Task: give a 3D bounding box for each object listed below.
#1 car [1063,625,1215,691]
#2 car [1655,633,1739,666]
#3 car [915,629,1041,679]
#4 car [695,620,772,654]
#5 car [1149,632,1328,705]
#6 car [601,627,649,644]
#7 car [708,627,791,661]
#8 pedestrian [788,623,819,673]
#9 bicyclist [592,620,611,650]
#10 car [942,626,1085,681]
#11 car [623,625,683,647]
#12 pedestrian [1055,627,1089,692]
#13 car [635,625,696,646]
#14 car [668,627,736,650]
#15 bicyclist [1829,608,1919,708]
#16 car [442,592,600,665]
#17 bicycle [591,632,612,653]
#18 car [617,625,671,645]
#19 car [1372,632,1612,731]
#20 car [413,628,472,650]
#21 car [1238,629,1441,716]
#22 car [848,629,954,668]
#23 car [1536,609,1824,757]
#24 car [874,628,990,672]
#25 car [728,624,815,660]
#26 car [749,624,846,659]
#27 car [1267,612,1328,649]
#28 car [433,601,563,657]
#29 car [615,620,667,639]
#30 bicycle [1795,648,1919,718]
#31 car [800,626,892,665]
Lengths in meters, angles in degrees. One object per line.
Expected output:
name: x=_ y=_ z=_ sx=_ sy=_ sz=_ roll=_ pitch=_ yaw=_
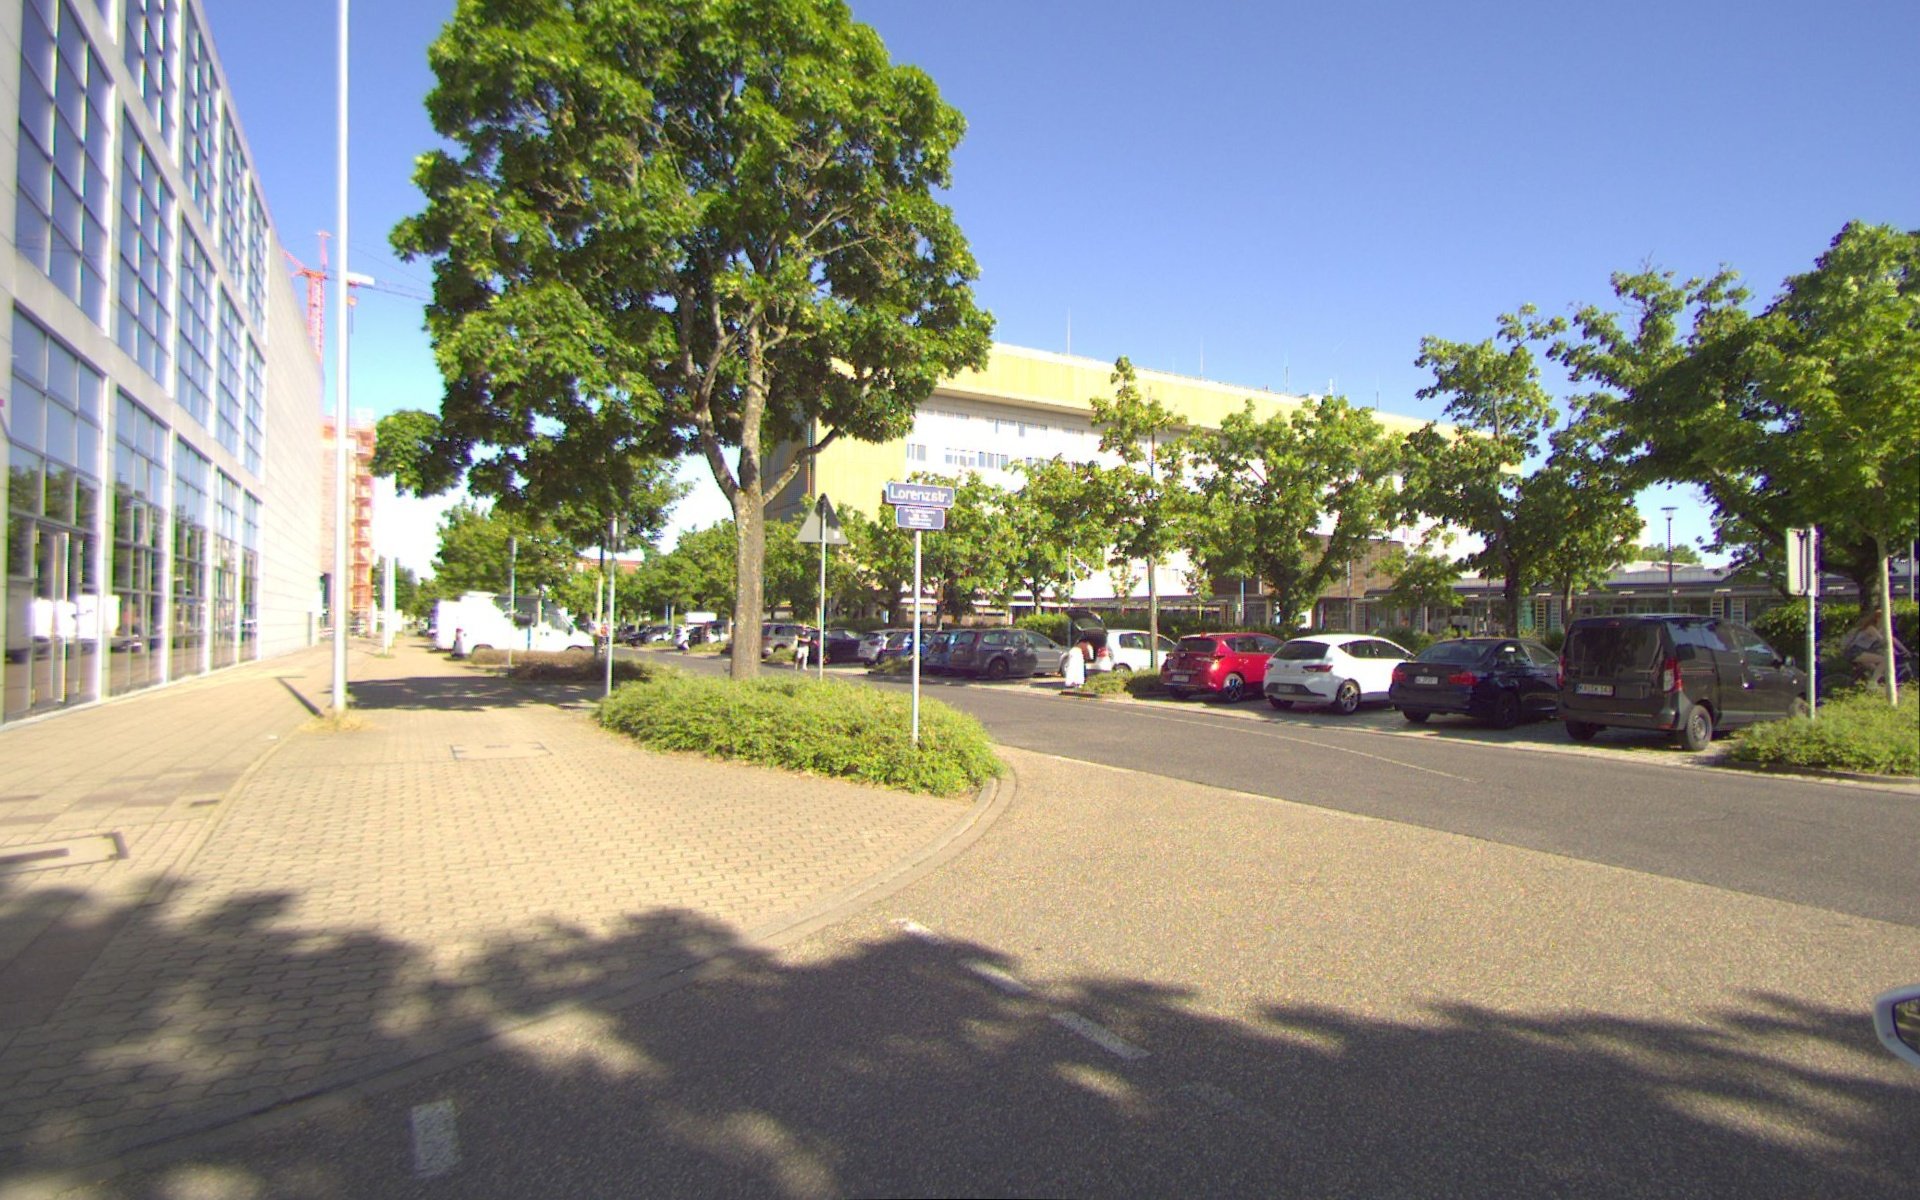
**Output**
car: x=4.783 y=1.498 z=26.767 sx=3.868 sy=1.599 sz=1.665 roll=1 pitch=0 yaw=-32
car: x=36.160 y=2.418 z=49.273 sx=3.858 sy=1.517 sz=1.829 roll=1 pitch=-1 yaw=-28
car: x=0.596 y=1.721 z=32.803 sx=3.868 sy=1.487 sz=1.607 roll=1 pitch=0 yaw=-32
car: x=-13.439 y=2.184 z=59.690 sx=4.085 sy=1.953 sz=1.962 roll=1 pitch=0 yaw=-31
car: x=6.228 y=1.468 z=22.347 sx=3.868 sy=1.445 sz=1.658 roll=1 pitch=0 yaw=-32
car: x=-29.569 y=3.129 z=88.633 sx=3.733 sy=1.478 sz=1.804 roll=1 pitch=-2 yaw=-30
car: x=-11.082 y=2.287 z=52.855 sx=3.868 sy=1.718 sz=1.924 roll=1 pitch=0 yaw=-31
pedestrian: x=-5.744 y=1.745 z=36.831 sx=0.713 sy=1.795 sz=1.159 roll=-1 pitch=-1 yaw=-30
bicyclist: x=-18.052 y=1.751 z=50.560 sx=0.750 sy=1.451 sz=1.124 roll=-1 pitch=-1 yaw=-28
car: x=1.657 y=1.582 z=30.649 sx=4.152 sy=1.540 sz=1.722 roll=0 pitch=-1 yaw=-32
car: x=-23.268 y=2.685 z=76.109 sx=4.109 sy=1.601 sz=1.727 roll=0 pitch=-1 yaw=-31
pedestrian: x=2.825 y=1.502 z=25.463 sx=0.752 sy=1.600 sz=0.674 roll=1 pitch=0 yaw=-1
car: x=-20.985 y=2.518 z=71.643 sx=3.868 sy=1.505 sz=1.729 roll=1 pitch=-1 yaw=-30
car: x=-16.902 y=2.497 z=65.883 sx=4.024 sy=1.444 sz=1.729 roll=0 pitch=-1 yaw=-28
bicyclist: x=14.724 y=0.910 z=16.130 sx=0.589 sy=1.544 sz=1.007 roll=1 pitch=0 yaw=-28
car: x=-16.593 y=1.132 z=38.029 sx=5.202 sy=2.450 sz=2.107 roll=4 pitch=-3 yaw=-29
bicycle: x=-18.042 y=2.108 z=50.529 sx=0.750 sy=1.015 sz=1.858 roll=-1 pitch=-1 yaw=-27
car: x=-25.868 y=2.872 z=82.139 sx=3.951 sy=1.558 sz=1.848 roll=1 pitch=-2 yaw=-29
car: x=9.169 y=1.309 z=17.250 sx=4.121 sy=1.424 sz=1.814 roll=0 pitch=-1 yaw=-32
car: x=-46.763 y=3.543 z=90.838 sx=4.581 sy=1.790 sz=1.974 roll=3 pitch=-2 yaw=-28
car: x=7.525 y=1.355 z=19.857 sx=3.867 sy=1.456 sz=1.793 roll=0 pitch=0 yaw=-32
car: x=-2.286 y=1.846 z=39.076 sx=3.698 sy=1.435 sz=1.829 roll=1 pitch=-1 yaw=-28
car: x=10.570 y=1.090 z=14.705 sx=4.118 sy=1.871 sz=1.865 roll=0 pitch=-1 yaw=-30
car: x=-1.031 y=1.789 z=36.821 sx=3.859 sy=1.517 sz=1.829 roll=1 pitch=-1 yaw=-28
car: x=-9.503 y=2.082 z=50.725 sx=3.868 sy=1.718 sz=1.924 roll=1 pitch=0 yaw=-31
car: x=-7.861 y=1.976 z=48.768 sx=4.288 sy=1.629 sz=1.895 roll=1 pitch=-1 yaw=-33
car: x=23.656 y=2.142 z=70.473 sx=3.599 sy=2.524 sz=2.217 roll=1 pitch=-1 yaw=-28
car: x=-22.241 y=1.425 z=48.443 sx=5.500 sy=2.441 sz=1.974 roll=3 pitch=-2 yaw=-28
car: x=-26.899 y=2.512 z=84.712 sx=3.951 sy=1.603 sz=2.016 roll=1 pitch=-2 yaw=-29
bicycle: x=14.745 y=1.316 z=16.069 sx=0.589 sy=1.009 sz=2.073 roll=1 pitch=0 yaw=-29
car: x=-4.776 y=1.893 z=42.190 sx=3.425 sy=1.508 sz=1.732 roll=0 pitch=-2 yaw=-31
